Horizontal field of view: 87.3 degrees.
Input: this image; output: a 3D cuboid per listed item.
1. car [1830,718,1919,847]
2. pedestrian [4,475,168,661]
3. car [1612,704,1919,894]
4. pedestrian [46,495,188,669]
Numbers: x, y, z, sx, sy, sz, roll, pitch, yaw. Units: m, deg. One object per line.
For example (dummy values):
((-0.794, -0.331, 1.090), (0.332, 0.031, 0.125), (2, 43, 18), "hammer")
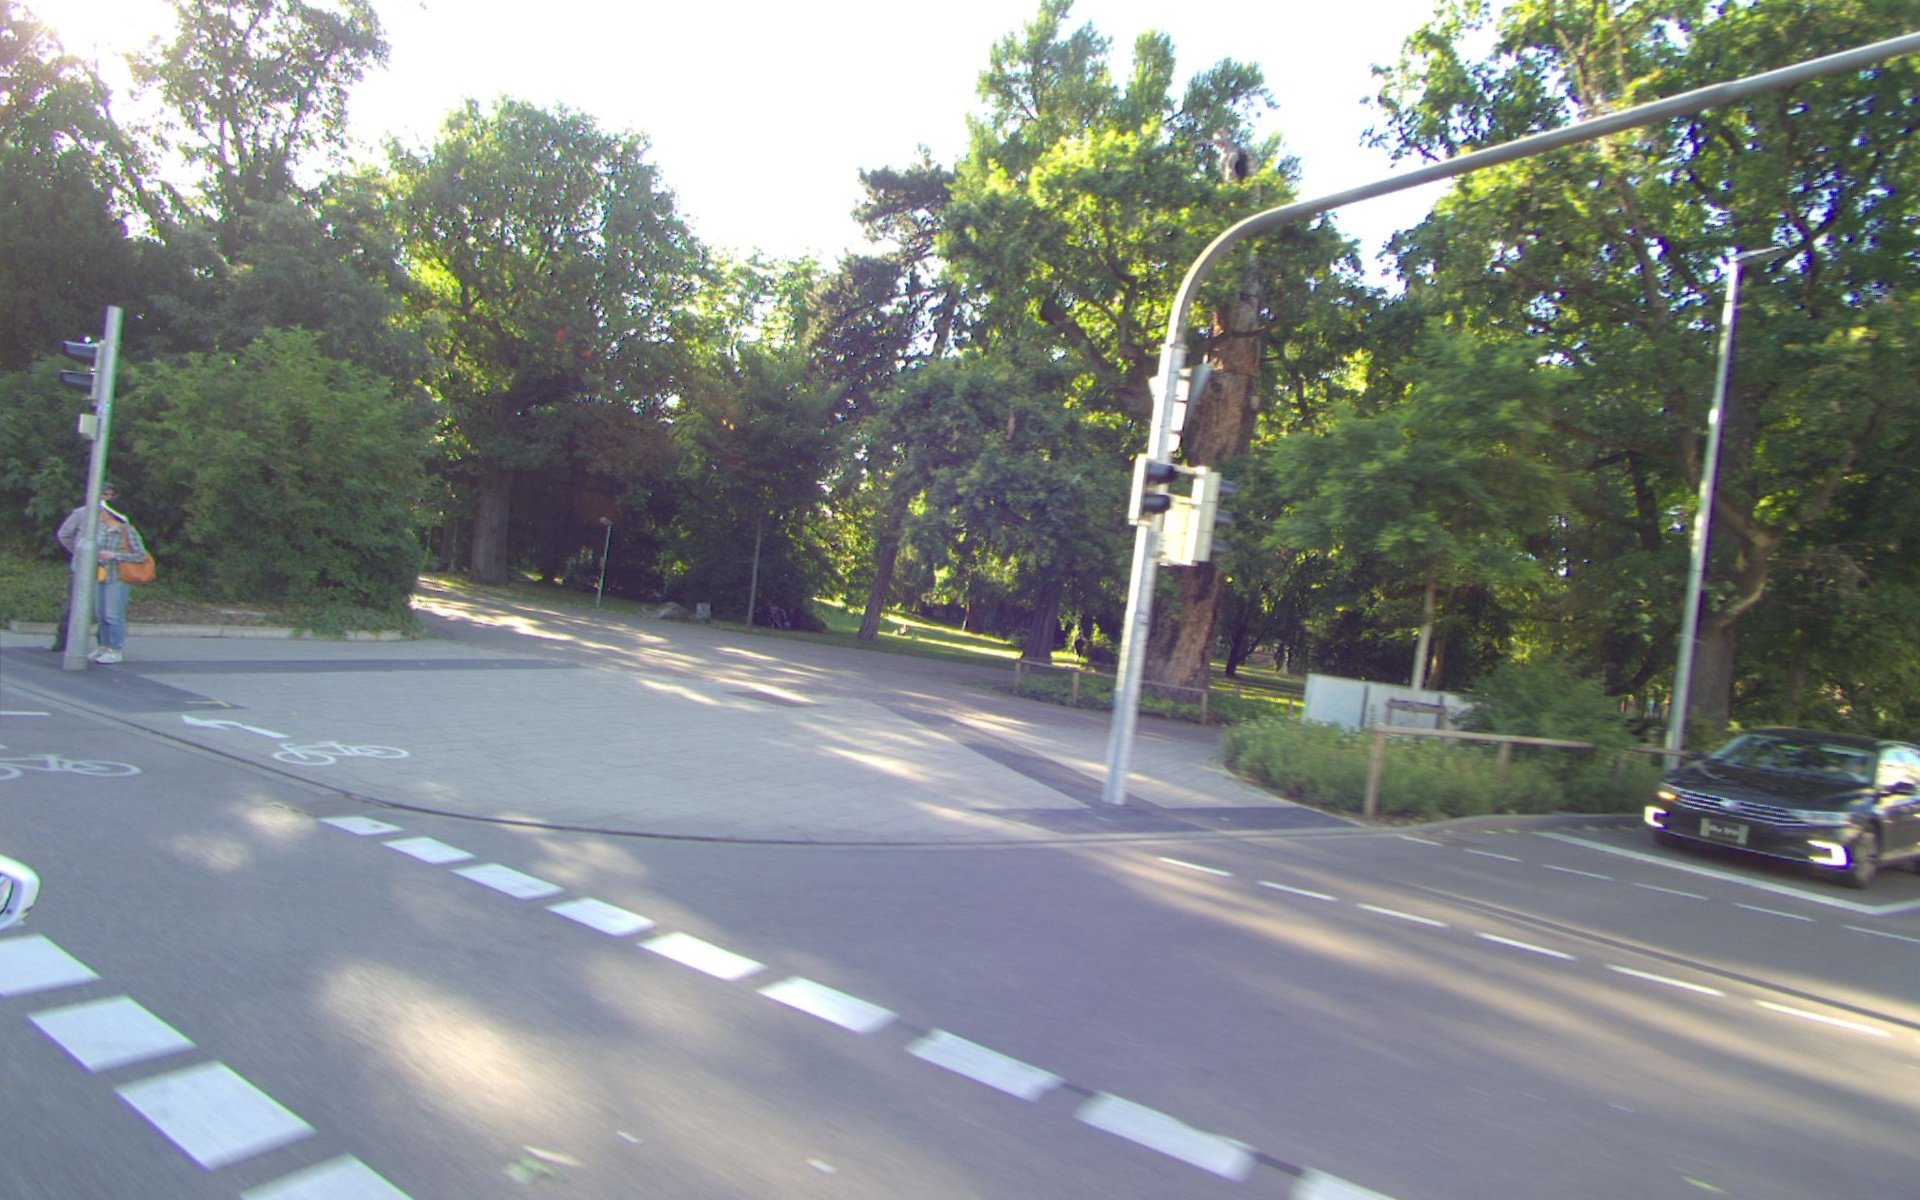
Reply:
((15.502, 2.898, 15.354), (4.488, 1.672, 1.889), (8, -1, -30), "car")
((-9.376, -0.332, 10.835), (0.891, 1.826, 0.858), (6, 2, -2), "pedestrian")
((9.451, 2.155, 11.249), (4.558, 1.491, 1.886), (8, -1, -34), "car")
((-8.658, -0.175, 10.346), (0.756, 1.658, 0.768), (7, 2, 23), "pedestrian")
